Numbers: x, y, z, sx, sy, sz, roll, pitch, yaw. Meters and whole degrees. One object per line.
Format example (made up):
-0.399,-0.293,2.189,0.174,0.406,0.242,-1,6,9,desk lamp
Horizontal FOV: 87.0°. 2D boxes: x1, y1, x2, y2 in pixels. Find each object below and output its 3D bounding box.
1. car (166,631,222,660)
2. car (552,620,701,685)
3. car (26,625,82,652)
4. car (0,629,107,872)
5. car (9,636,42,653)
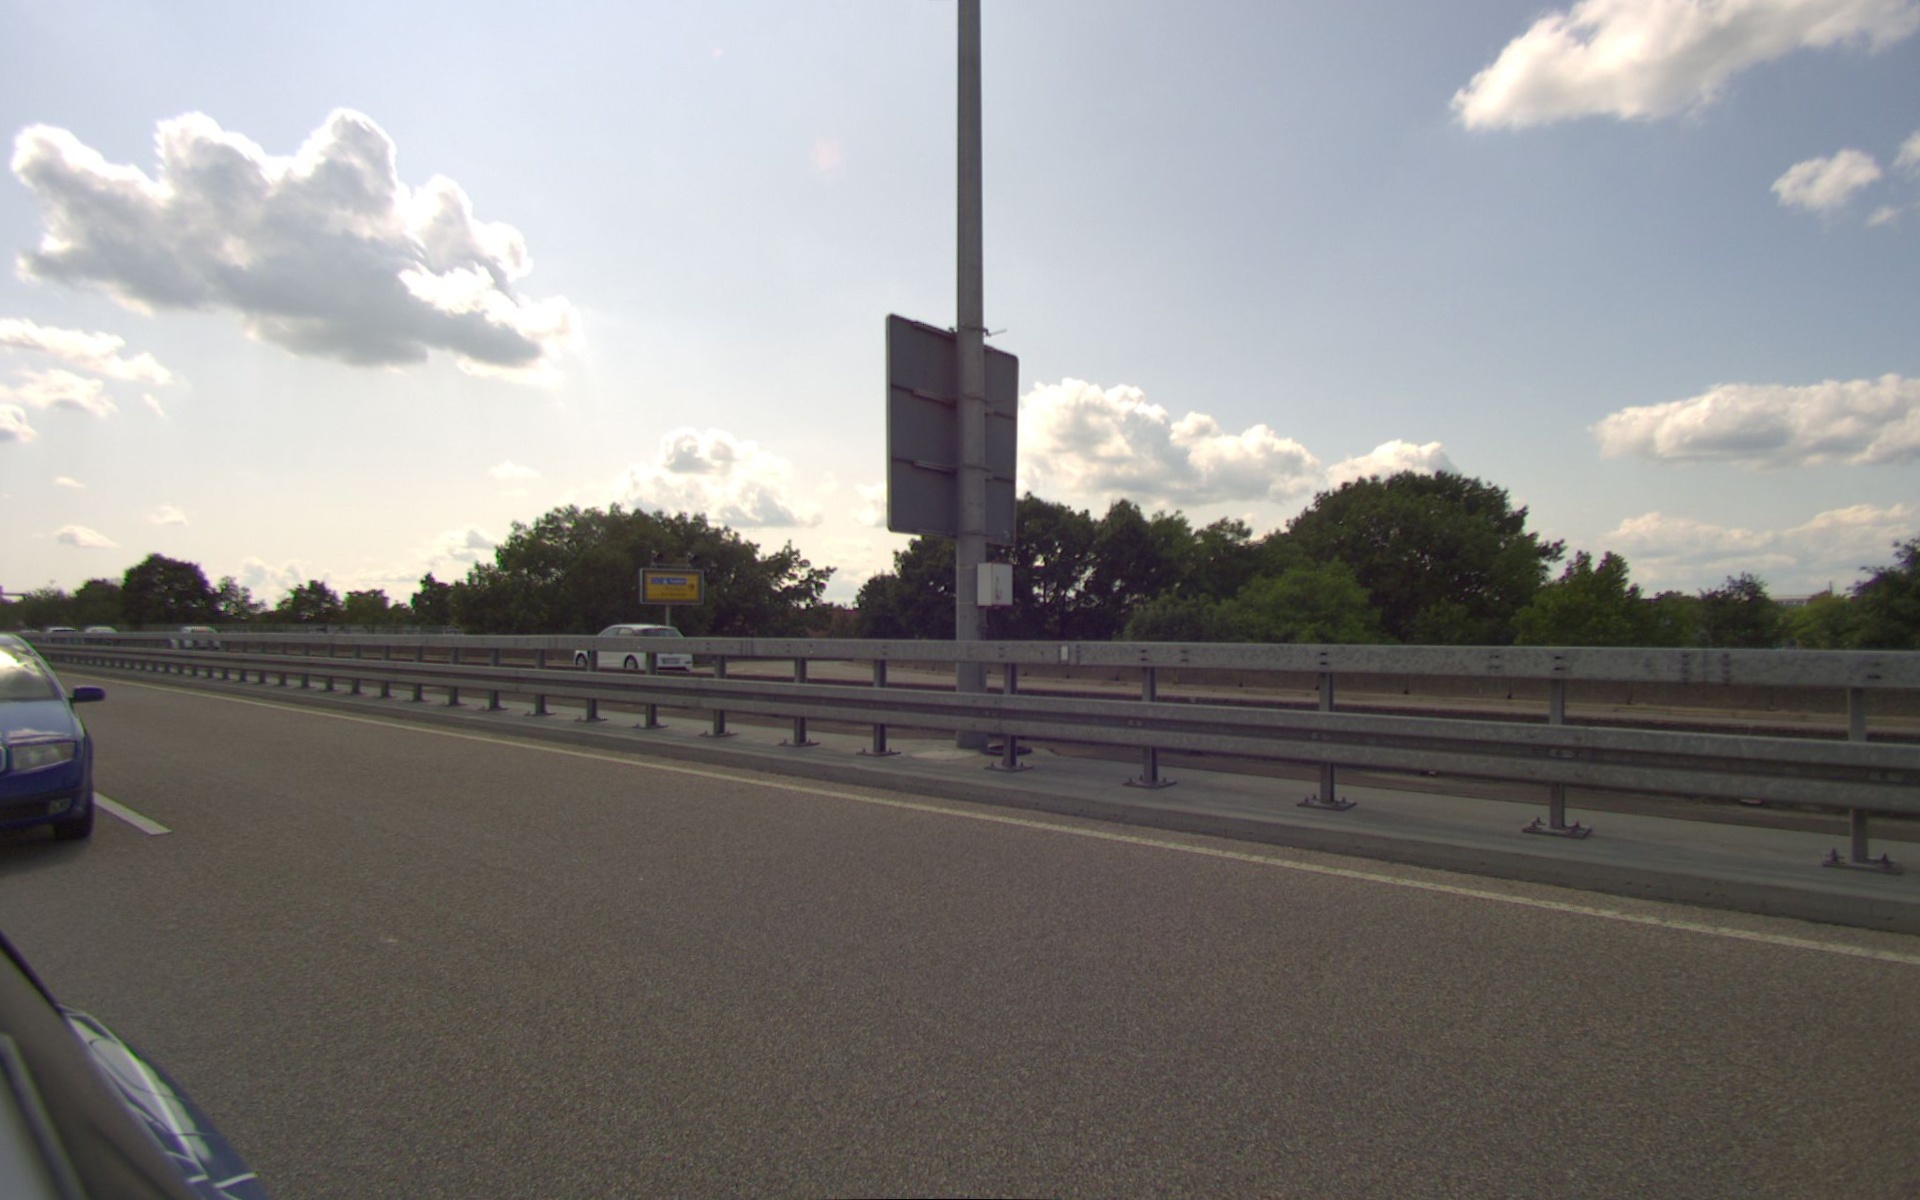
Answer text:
-44.187,2.599,58.356,3.952,1.593,1.810,-2,0,41,car
-9.366,1.419,28.212,4.709,1.608,1.779,-2,0,41,car
-55.546,2.344,62.024,4.237,1.540,1.884,-2,0,38,car
-7.311,0.949,7.023,3.770,1.422,1.604,-2,0,42,car
-85.938,4.092,93.075,3.626,1.486,1.582,-2,-4,38,car
